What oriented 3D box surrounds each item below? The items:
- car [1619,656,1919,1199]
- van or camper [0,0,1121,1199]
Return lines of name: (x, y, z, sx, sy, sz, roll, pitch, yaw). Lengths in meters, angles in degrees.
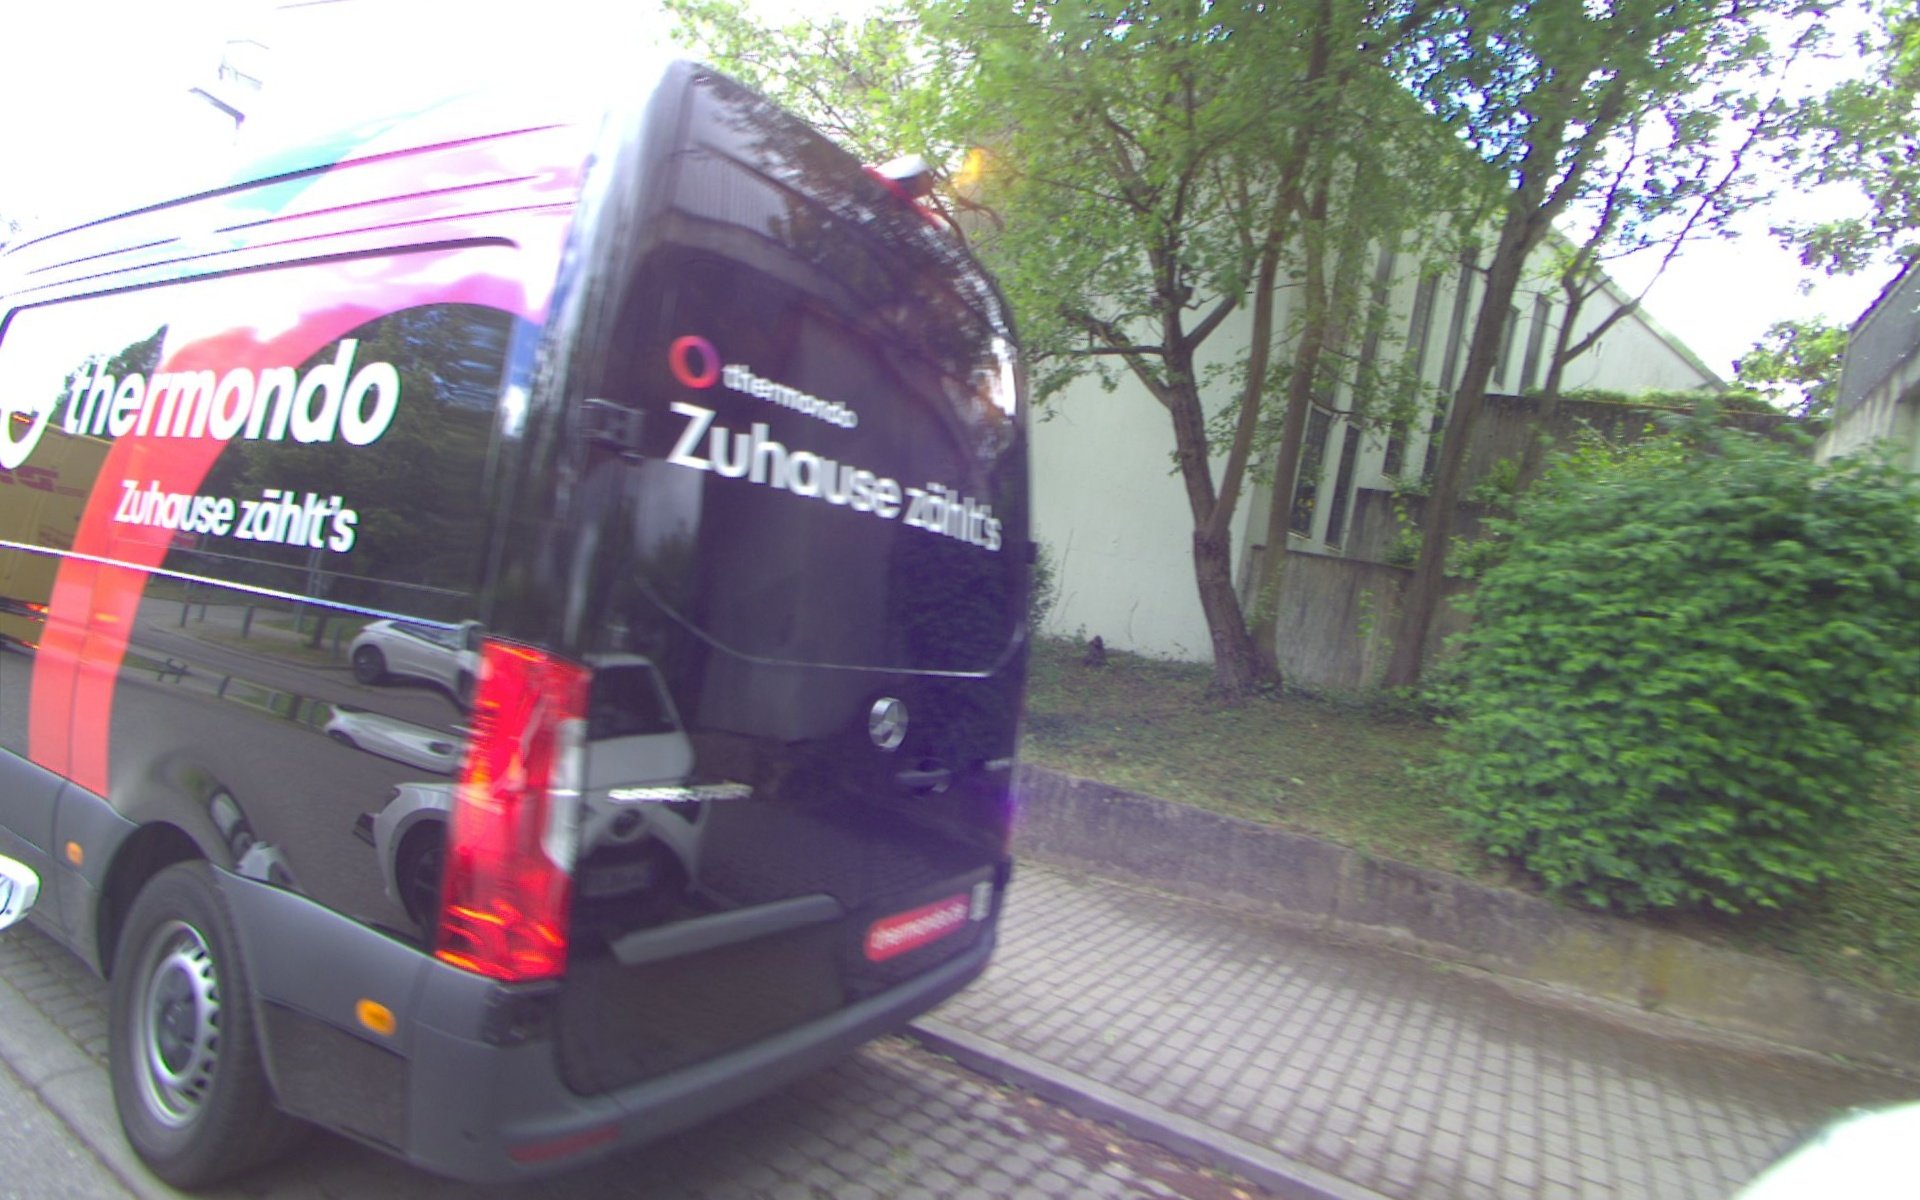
car: (2.583, 1.056, 0.785, 3.274, 1.513, 1.566, 8, -1, 30)
van or camper: (-2.417, -0.135, 3.767, 5.380, 2.554, 1.996, 7, 0, 32)
